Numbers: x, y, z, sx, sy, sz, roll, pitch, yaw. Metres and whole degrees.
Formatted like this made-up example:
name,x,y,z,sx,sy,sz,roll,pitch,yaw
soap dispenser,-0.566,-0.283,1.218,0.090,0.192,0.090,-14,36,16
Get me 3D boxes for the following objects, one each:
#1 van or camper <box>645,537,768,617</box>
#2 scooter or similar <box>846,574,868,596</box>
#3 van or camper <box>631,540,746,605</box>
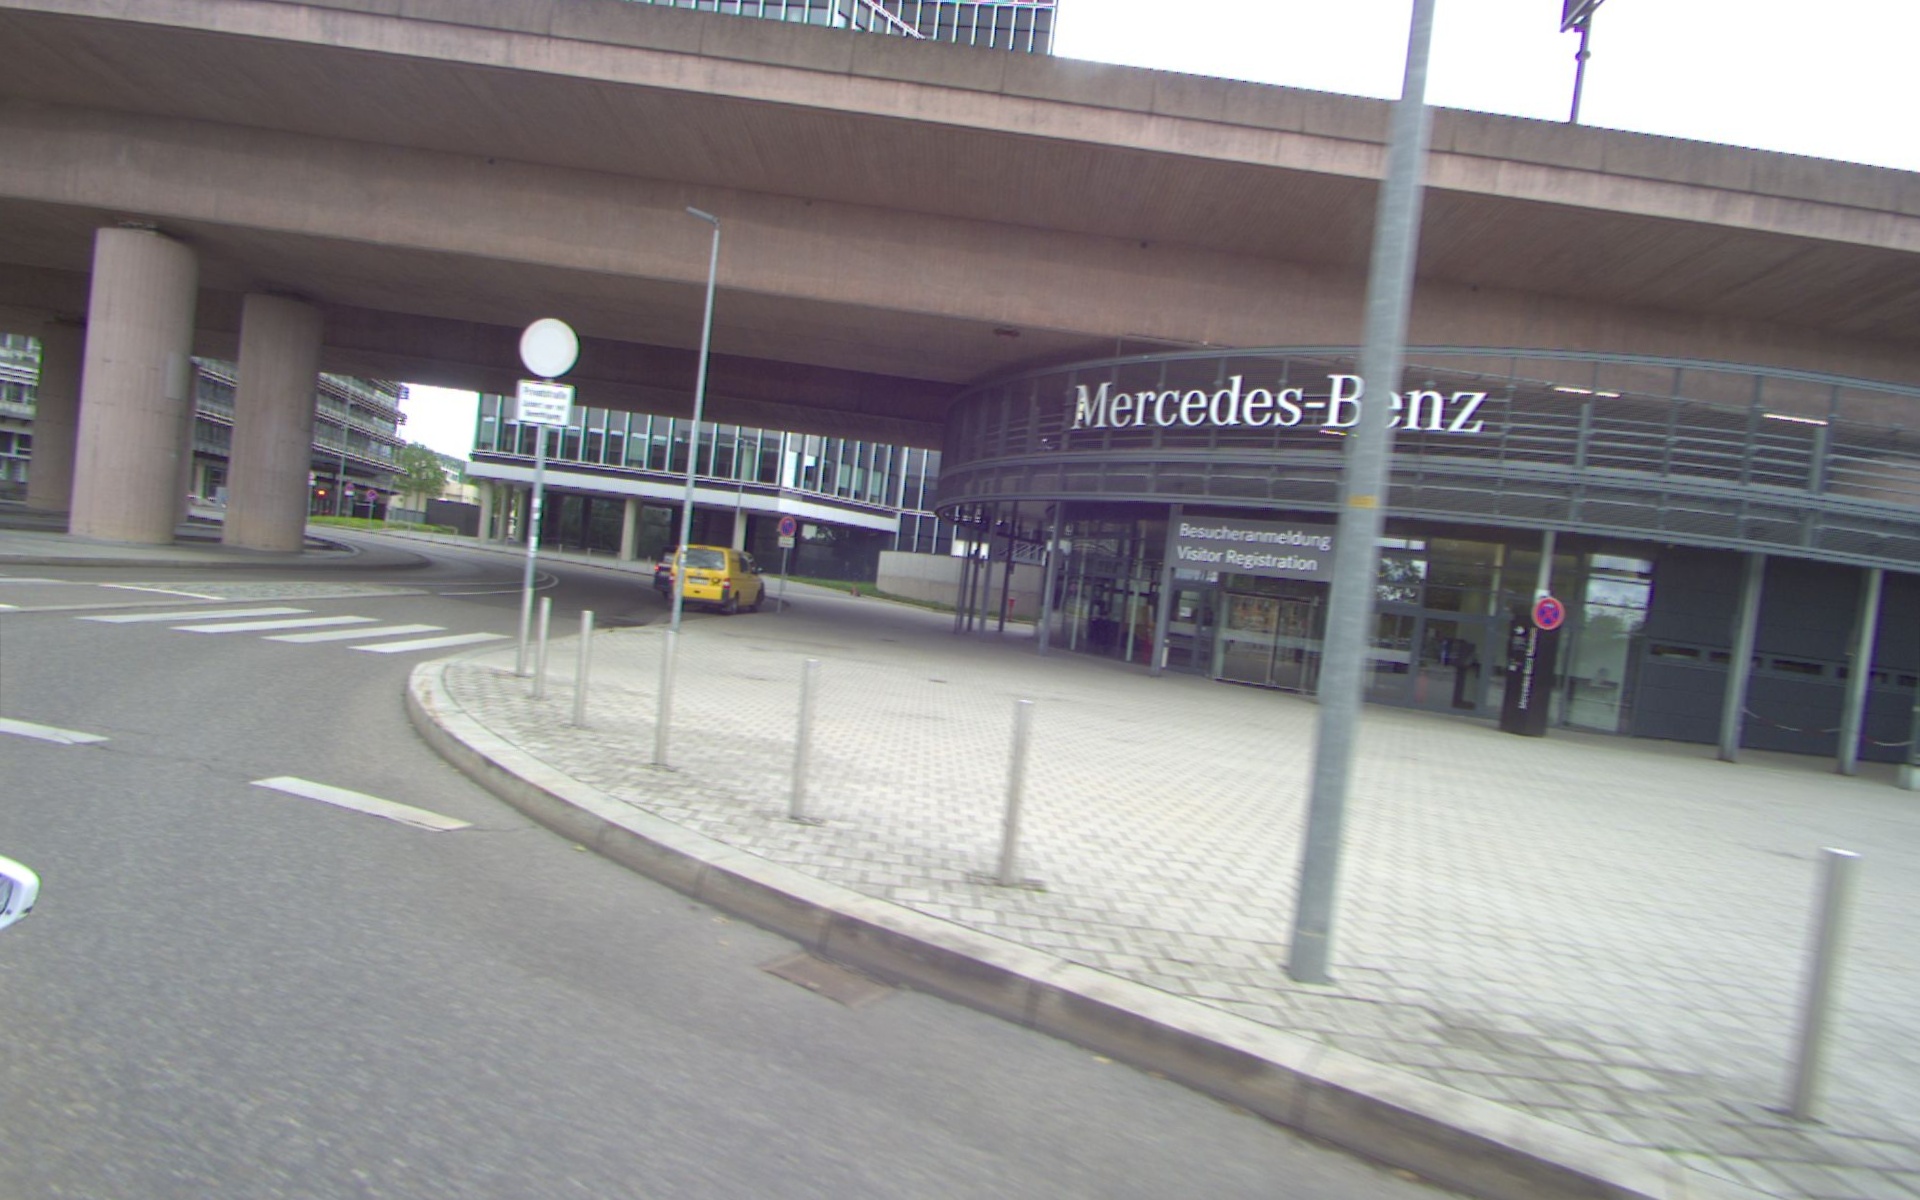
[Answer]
name,x,y,z,sx,sy,sz,roll,pitch,yaw
van or camper,-7.607,-0.671,30.723,2.318,2.025,4.502,6,1,2
scooter or similar,-5.889,-0.855,57.627,0.692,1.119,1.491,7,2,-24
van or camper,-9.708,-0.932,36.386,2.113,1.917,4.901,8,1,7
